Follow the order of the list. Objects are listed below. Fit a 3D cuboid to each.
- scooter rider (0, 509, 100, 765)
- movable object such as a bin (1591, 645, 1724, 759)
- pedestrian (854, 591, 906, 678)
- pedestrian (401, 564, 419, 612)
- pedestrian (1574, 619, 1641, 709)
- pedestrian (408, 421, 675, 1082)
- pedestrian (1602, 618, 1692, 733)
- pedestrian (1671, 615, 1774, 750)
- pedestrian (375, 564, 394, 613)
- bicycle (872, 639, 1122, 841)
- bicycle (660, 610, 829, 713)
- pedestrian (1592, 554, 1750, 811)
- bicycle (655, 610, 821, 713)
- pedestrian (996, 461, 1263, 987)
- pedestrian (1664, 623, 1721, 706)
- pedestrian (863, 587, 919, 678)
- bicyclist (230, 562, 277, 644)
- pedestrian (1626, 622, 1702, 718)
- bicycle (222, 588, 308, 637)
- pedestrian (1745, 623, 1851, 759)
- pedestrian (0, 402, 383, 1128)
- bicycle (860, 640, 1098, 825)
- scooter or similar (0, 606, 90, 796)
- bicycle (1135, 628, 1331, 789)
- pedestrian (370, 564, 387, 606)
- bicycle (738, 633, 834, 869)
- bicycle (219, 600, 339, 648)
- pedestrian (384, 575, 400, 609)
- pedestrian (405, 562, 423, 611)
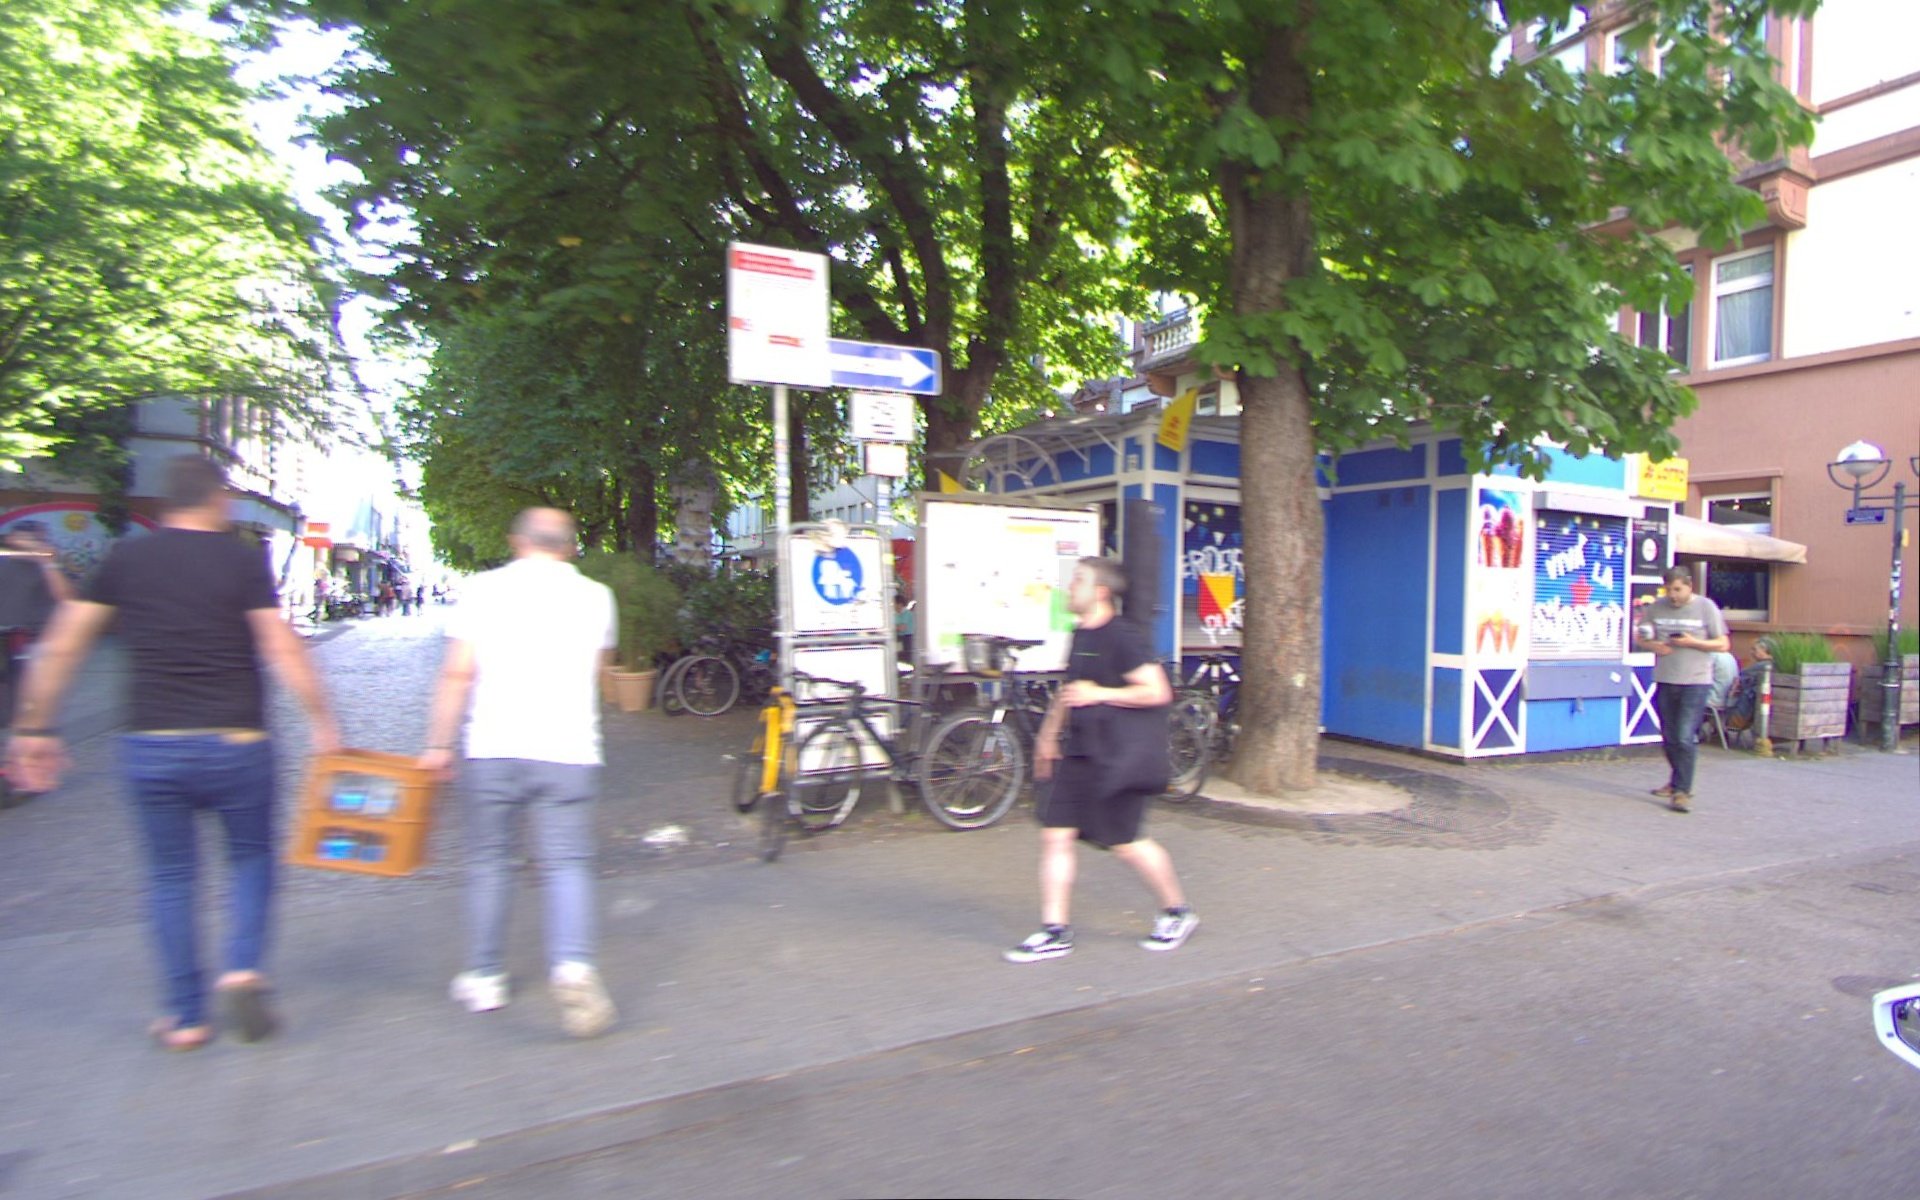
[{"bbox_3d":[-6.425,0.230,6.830,0.711,1.670,0.684,2,1,-29],"label":"scooter rider"},{"bbox_3d":[7.460,1.067,10.763,0.764,1.101,0.866,2,1,-27],"label":"movable object such as a bin"},{"bbox_3d":[-1.260,0.535,15.770,0.590,1.322,0.541,2,1,-28],"label":"pedestrian"},{"bbox_3d":[-27.530,-0.623,50.238,0.721,2.348,0.759,2,1,-29],"label":"pedestrian"},{"bbox_3d":[10.322,1.010,16.015,0.683,1.379,0.615,1,0,-27],"label":"pedestrian"},{"bbox_3d":[-1.404,0.428,3.315,0.680,1.860,0.758,2,1,-29],"label":"pedestrian"},{"bbox_3d":[8.818,0.952,12.903,0.609,1.394,0.702,2,1,-28],"label":"pedestrian"},{"bbox_3d":[8.848,0.936,11.664,0.609,1.465,0.702,2,1,-28],"label":"pedestrian"},{"bbox_3d":[-27.780,-0.553,48.508,0.722,2.348,0.758,2,1,-31],"label":"pedestrian"},{"bbox_3d":[0.251,0.803,6.091,1.558,1.097,0.291,0,2,-28],"label":"bicycle"},{"bbox_3d":[-2.453,0.681,11.564,1.913,1.106,0.227,0,2,-29],"label":"bicycle"},{"bbox_3d":[5.451,0.599,7.718,0.689,1.858,0.644,2,2,-28],"label":"pedestrian"},{"bbox_3d":[-2.576,0.698,11.783,1.913,1.106,0.227,-1,3,-29],"label":"bicycle"},{"bbox_3d":[0.669,0.449,4.096,0.711,1.898,0.713,2,1,-28],"label":"pedestrian"},{"bbox_3d":[11.192,0.978,15.360,0.415,1.202,0.441,4,4,-27],"label":"pedestrian"},{"bbox_3d":[-1.045,0.490,15.221,0.626,1.339,0.565,2,1,-28],"label":"pedestrian"},{"bbox_3d":[-15.901,0.062,22.610,0.494,1.785,0.683,3,1,12],"label":"bicyclist"},{"bbox_3d":[10.530,1.025,15.026,0.683,1.379,0.675,0,1,-27],"label":"pedestrian"},{"bbox_3d":[-19.366,0.359,28.038,1.904,1.283,0.521,2,1,-29],"label":"bicycle"},{"bbox_3d":[9.617,1.028,11.541,0.609,1.465,0.702,2,1,-28],"label":"pedestrian"},{"bbox_3d":[-2.328,0.424,2.997,0.991,1.849,0.690,2,1,-29],"label":"pedestrian"},{"bbox_3d":[0.146,0.803,6.429,1.558,1.060,0.291,0,2,-28],"label":"bicycle"},{"bbox_3d":[-6.486,0.656,6.911,0.508,1.176,1.050,2,1,-28],"label":"scooter or similar"},{"bbox_3d":[2.303,0.833,8.299,2.022,1.146,0.492,1,2,-41],"label":"bicycle"},{"bbox_3d":[-33.706,-0.879,58.190,0.720,2.348,0.760,2,1,-24],"label":"pedestrian"},{"bbox_3d":[-1.050,0.795,5.877,0.341,1.097,1.573,2,1,-16],"label":"bicycle"},{"bbox_3d":[-15.896,0.534,23.574,0.479,1.003,2.766,3,1,11],"label":"bicycle"},{"bbox_3d":[-30.423,-0.427,53.815,0.721,1.760,0.759,1,0,-28],"label":"pedestrian"},{"bbox_3d":[-26.703,-0.642,49.119,0.722,2.348,0.758,2,1,-31],"label":"pedestrian"}]
